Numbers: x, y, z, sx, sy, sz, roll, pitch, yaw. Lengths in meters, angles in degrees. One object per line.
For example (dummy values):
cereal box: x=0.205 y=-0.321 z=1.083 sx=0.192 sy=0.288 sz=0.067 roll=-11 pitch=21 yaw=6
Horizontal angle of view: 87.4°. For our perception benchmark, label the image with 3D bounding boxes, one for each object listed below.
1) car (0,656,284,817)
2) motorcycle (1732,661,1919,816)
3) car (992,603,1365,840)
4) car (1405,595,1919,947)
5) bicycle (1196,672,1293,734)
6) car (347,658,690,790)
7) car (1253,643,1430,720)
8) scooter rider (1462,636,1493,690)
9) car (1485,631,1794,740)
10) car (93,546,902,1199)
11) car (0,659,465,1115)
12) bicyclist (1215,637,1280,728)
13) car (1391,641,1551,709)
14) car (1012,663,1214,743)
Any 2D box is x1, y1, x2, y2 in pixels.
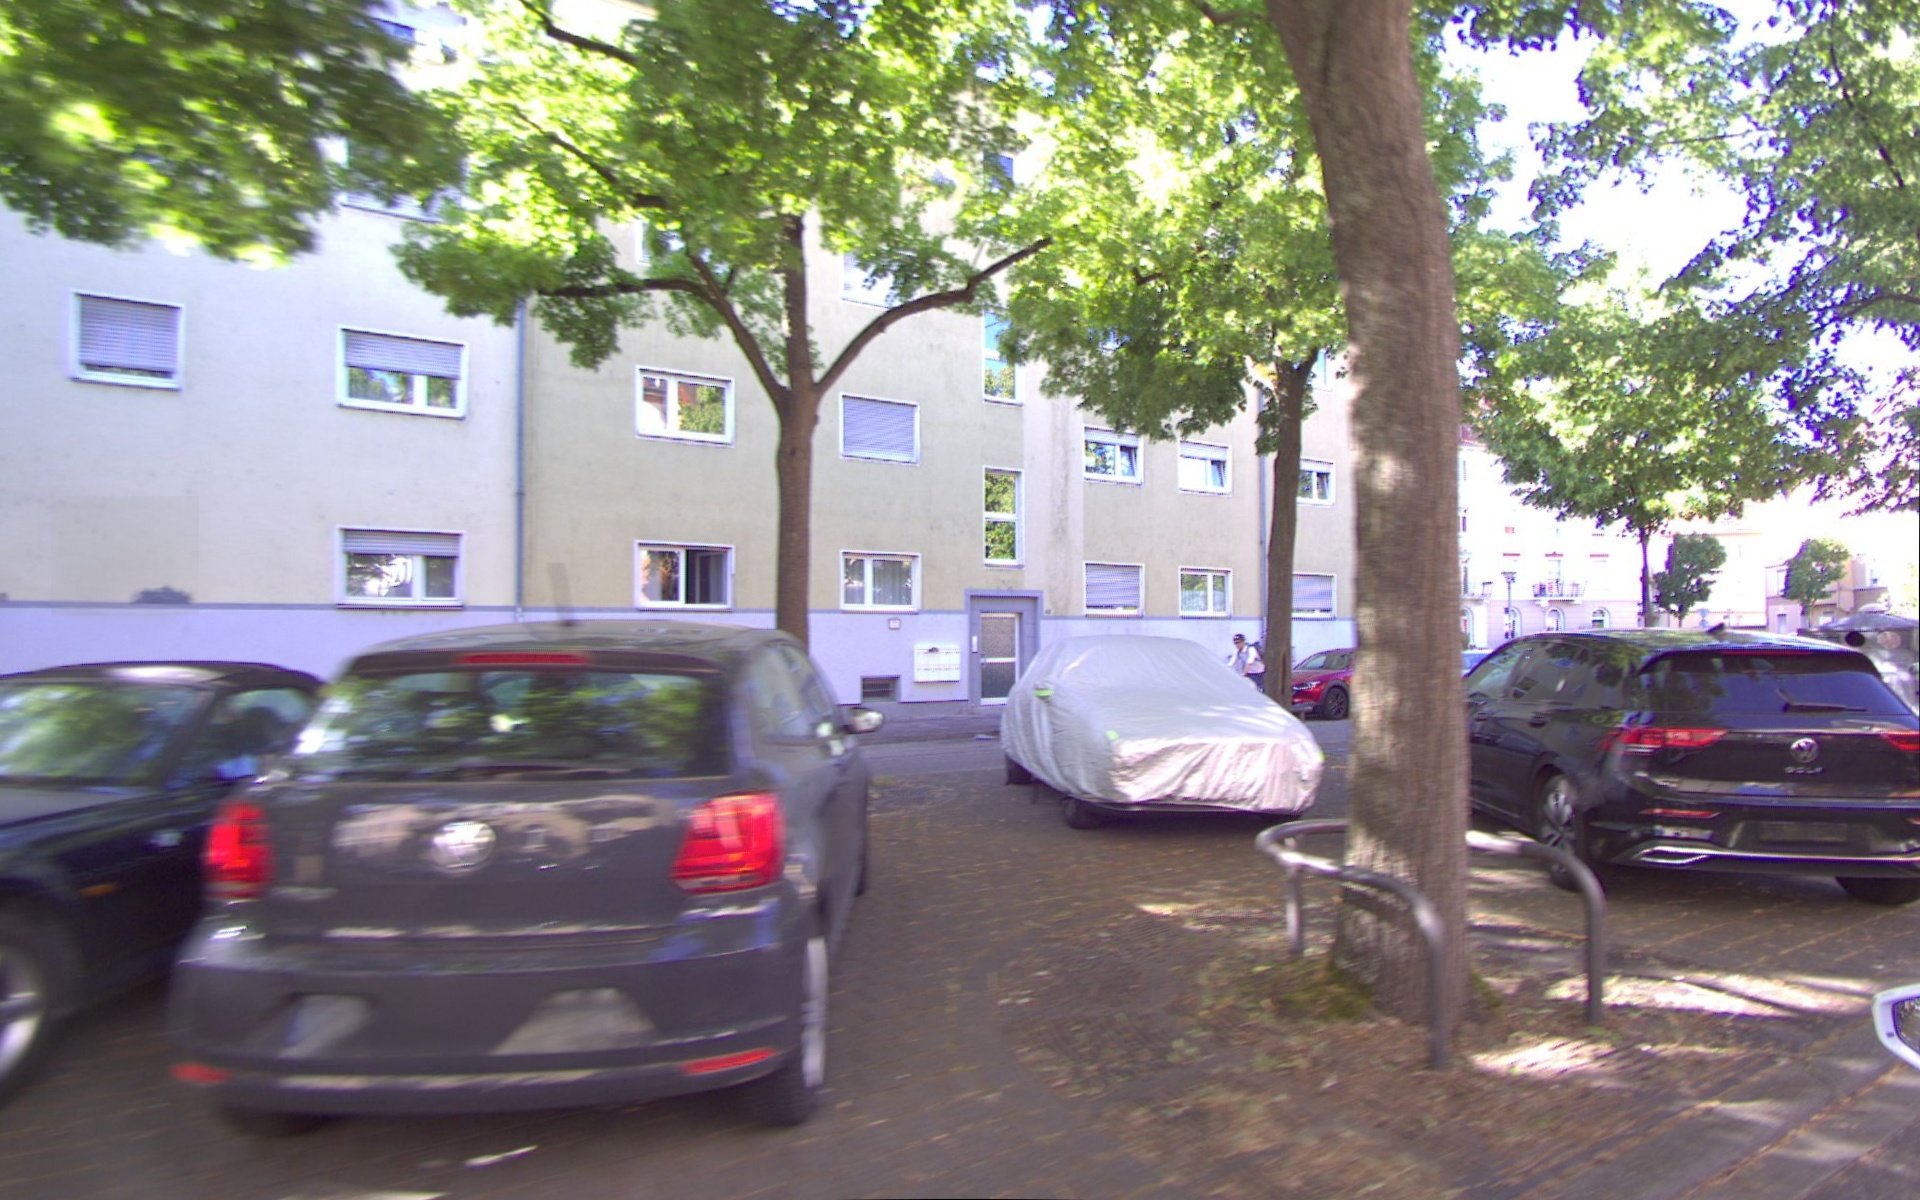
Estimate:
car: x=-10.302 y=1.463 z=11.134 sx=4.539 sy=1.537 sz=1.763 roll=1 pitch=0 yaw=-31
motorcycle: x=7.575 y=1.108 z=8.209 sx=0.512 sy=1.186 sz=1.930 roll=1 pitch=-3 yaw=-30
car: x=1.493 y=0.949 z=8.488 sx=1.832 sy=1.485 sz=4.100 roll=2 pitch=-5 yaw=-7
car: x=4.409 y=0.852 z=6.606 sx=1.796 sy=1.574 sz=4.158 roll=-1 pitch=-2 yaw=11
bicycle: x=5.277 y=1.884 z=18.607 sx=1.892 sy=1.048 sz=0.597 roll=1 pitch=-3 yaw=-31
car: x=-6.017 y=1.581 z=13.846 sx=4.101 sy=1.514 sz=1.763 roll=1 pitch=-3 yaw=-33
car: x=8.574 y=1.761 z=22.468 sx=4.120 sy=1.546 sz=1.521 roll=1 pitch=-3 yaw=-32
scooter rider: x=14.951 y=1.824 z=29.034 sx=0.595 sy=1.549 sz=0.526 roll=-1 pitch=-2 yaw=7
car: x=10.408 y=1.277 z=15.737 sx=1.619 sy=1.485 sz=3.786 roll=0 pitch=-3 yaw=-18
car: x=-1.127 y=0.743 z=4.107 sx=1.604 sy=1.602 sz=3.738 roll=0 pitch=-2 yaw=-1
car: x=-3.578 y=0.888 z=3.827 sx=1.625 sy=1.264 sz=3.568 roll=0 pitch=-2 yaw=-1
bicyclist: x=5.349 y=1.509 z=18.704 sx=0.917 sy=1.643 sz=0.712 roll=1 pitch=-2 yaw=-30
car: x=12.880 y=1.831 z=25.259 sx=3.953 sy=1.545 sz=1.770 roll=1 pitch=-1 yaw=-31
car: x=2.925 y=1.902 z=19.062 sx=3.599 sy=1.338 sz=1.578 roll=1 pitch=-4 yaw=-31
